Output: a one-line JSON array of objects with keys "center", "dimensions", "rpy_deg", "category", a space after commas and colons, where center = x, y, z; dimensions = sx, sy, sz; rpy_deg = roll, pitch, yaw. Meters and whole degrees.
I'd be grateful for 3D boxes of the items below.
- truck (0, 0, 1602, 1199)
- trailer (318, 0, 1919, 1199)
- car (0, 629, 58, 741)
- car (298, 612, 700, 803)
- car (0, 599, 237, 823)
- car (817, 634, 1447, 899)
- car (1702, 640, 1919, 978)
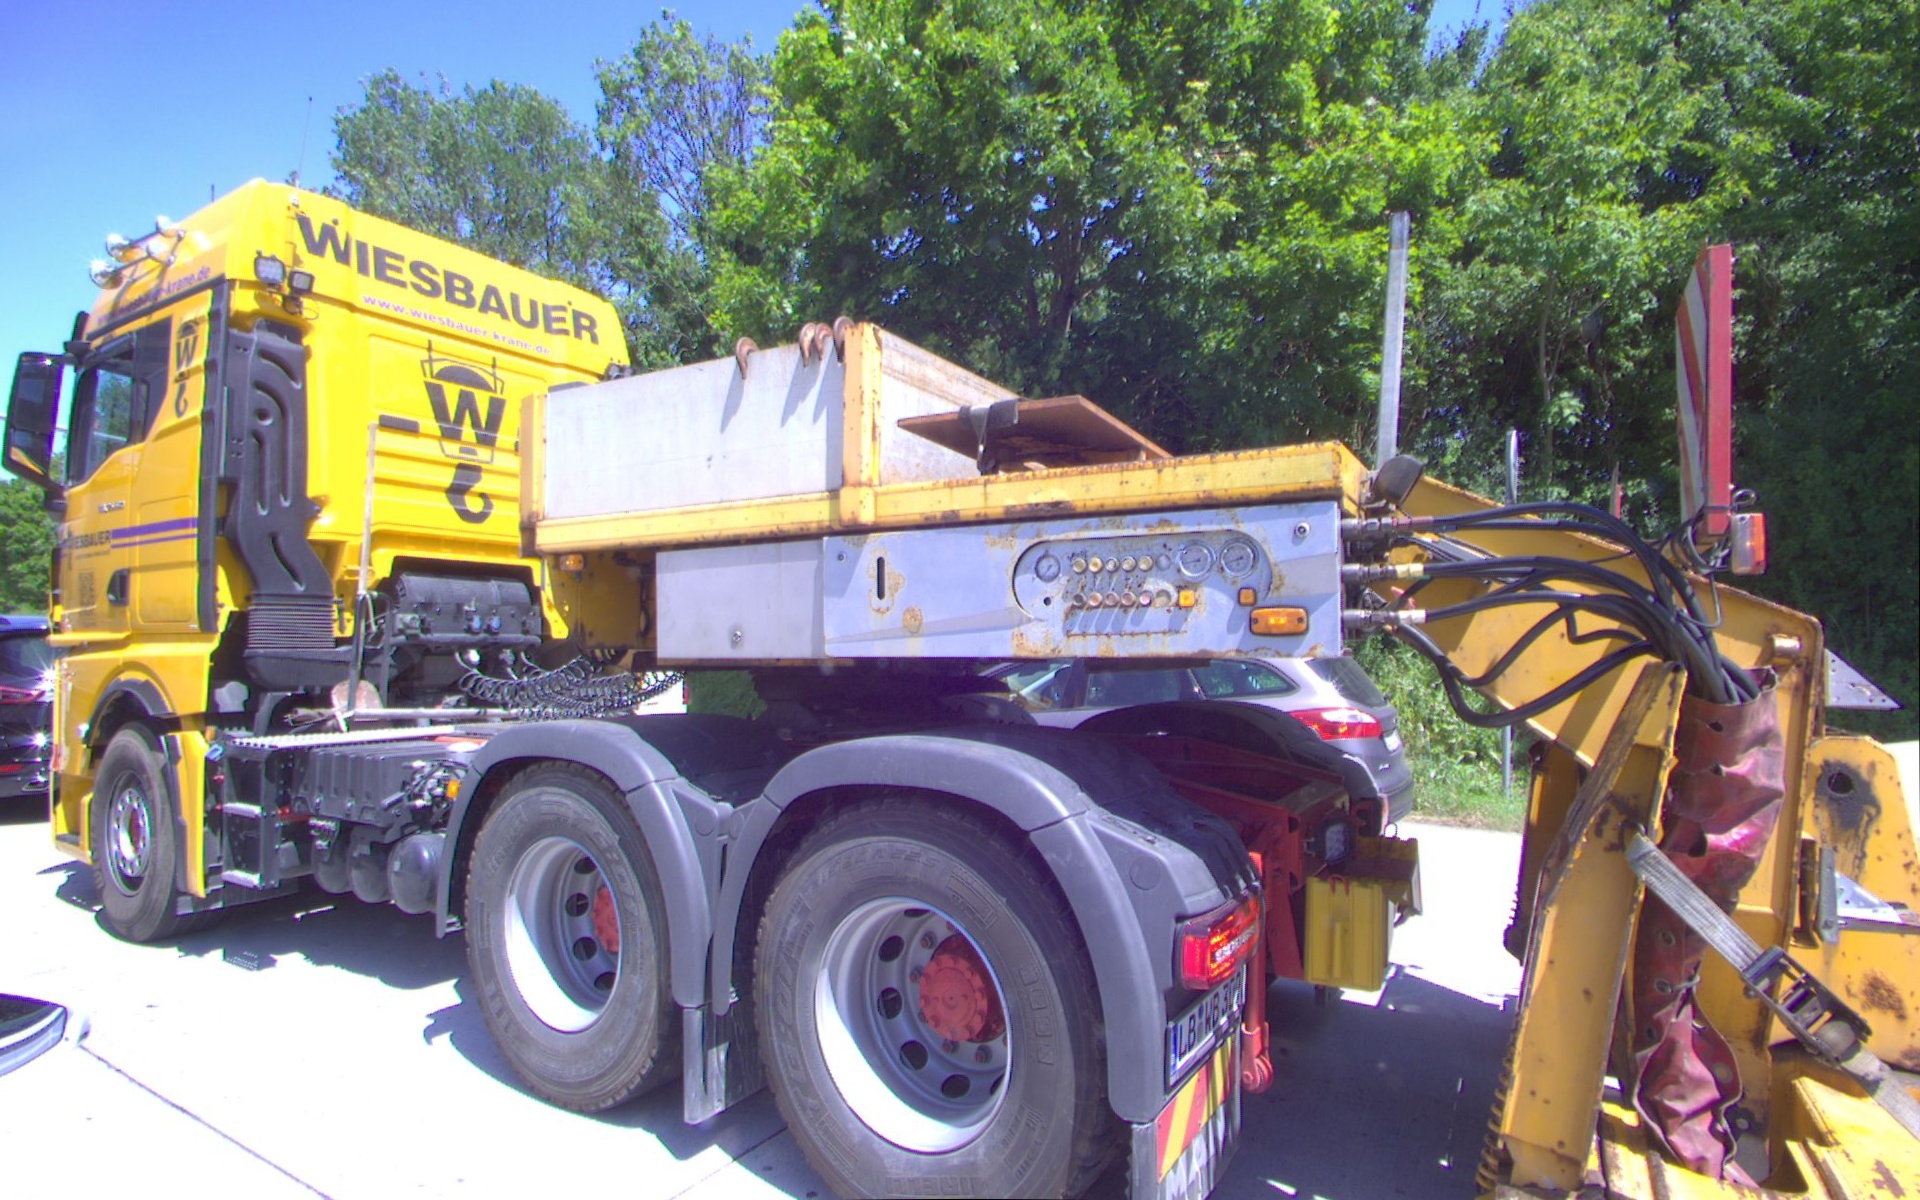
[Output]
[{"center": [-1.395, -0.328, 4.773], "dimensions": [7.361, 3.821, 3.010], "rpy_deg": [-1, -2, 31], "category": "truck"}, {"center": [5.421, 0.200, 0.621], "dimensions": [16.117, 2.626, 3.023], "rpy_deg": [-1, -2, 31], "category": "trailer"}, {"center": [-14.198, 1.120, 13.736], "dimensions": [4.548, 1.428, 1.763], "rpy_deg": [-2, -2, 35], "category": "car"}, {"center": [-5.380, 1.102, 11.529], "dimensions": [4.720, 1.830, 1.766], "rpy_deg": [-1, -2, 29], "category": "car"}, {"center": [-8.663, 0.893, 9.260], "dimensions": [4.584, 1.660, 1.779], "rpy_deg": [-1, -2, 35], "category": "car"}, {"center": [1.172, 1.001, 7.470], "dimensions": [4.300, 1.480, 1.765], "rpy_deg": [-1, -2, 31], "category": "car"}, {"center": [6.157, 0.926, 4.335], "dimensions": [4.530, 1.481, 1.766], "rpy_deg": [-1, -2, 30], "category": "car"}]
